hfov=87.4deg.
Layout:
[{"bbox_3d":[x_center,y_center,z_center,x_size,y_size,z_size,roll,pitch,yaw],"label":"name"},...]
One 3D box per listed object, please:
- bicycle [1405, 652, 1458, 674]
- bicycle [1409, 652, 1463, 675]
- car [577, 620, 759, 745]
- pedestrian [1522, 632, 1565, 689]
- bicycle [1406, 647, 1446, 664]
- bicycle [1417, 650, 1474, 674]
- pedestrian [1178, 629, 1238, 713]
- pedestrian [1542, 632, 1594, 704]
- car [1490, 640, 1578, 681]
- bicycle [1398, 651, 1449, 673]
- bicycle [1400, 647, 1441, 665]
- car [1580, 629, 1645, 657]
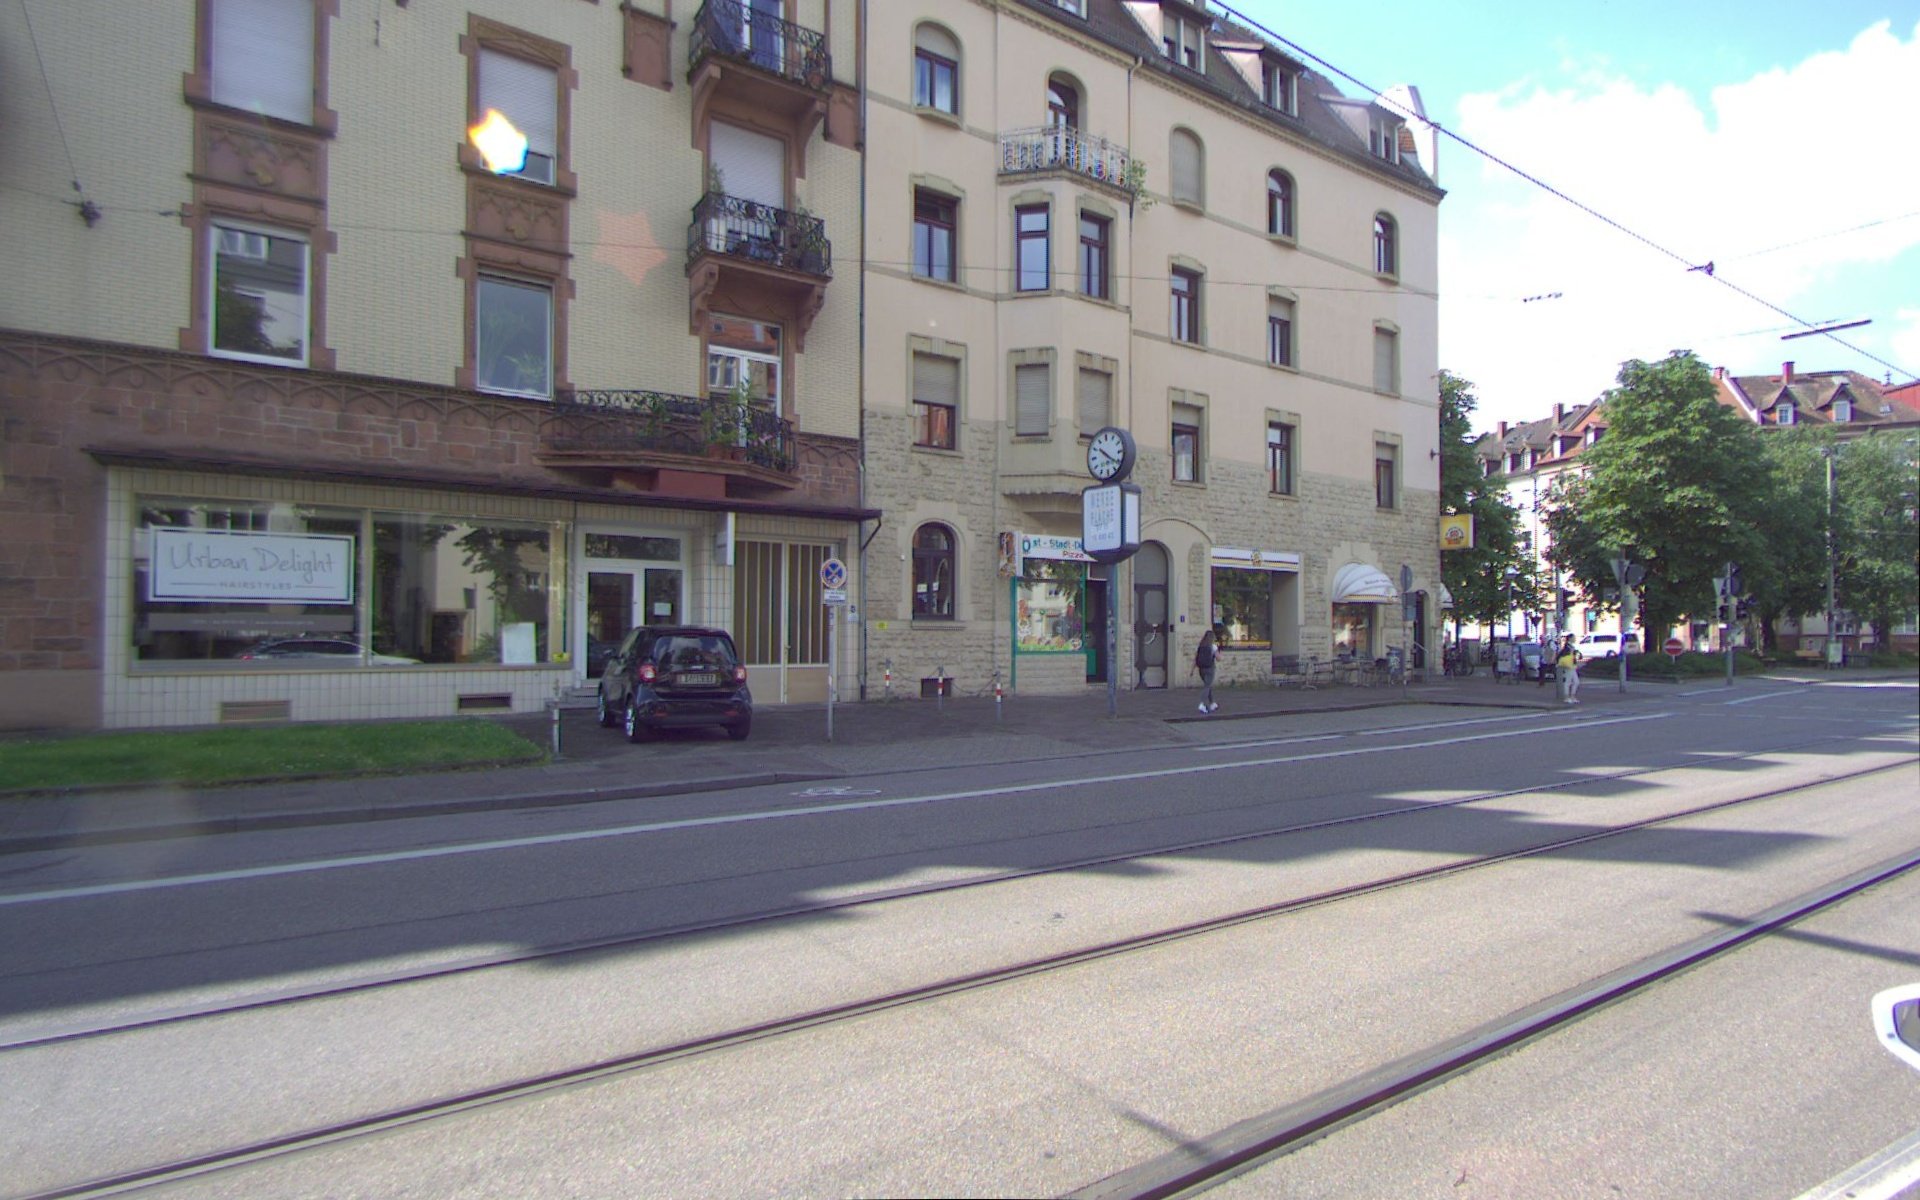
[{"bbox_3d":[20.281,2.708,43.240,1.990,0.894,0.512,1,-2,13],"label":"bicycle"},{"bbox_3d":[19.912,2.640,42.057,1.990,0.894,0.512,1,-2,13],"label":"bicycle"},{"bbox_3d":[-4.374,1.105,14.741,1.687,1.506,3.425,1,0,-32],"label":"car"},{"bbox_3d":[17.734,1.829,30.558,0.813,1.694,0.849,1,-2,-34],"label":"pedestrian"},{"bbox_3d":[26.114,3.108,56.242,1.994,0.910,0.571,1,-2,29],"label":"bicycle"},{"bbox_3d":[19.668,2.526,40.730,1.990,0.894,0.523,1,-2,13],"label":"bicycle"},{"bbox_3d":[4.909,1.384,19.884,0.956,1.562,0.687,1,2,-42],"label":"pedestrian"},{"bbox_3d":[15.461,1.713,25.554,0.865,1.727,0.751,1,2,-34],"label":"pedestrian"},{"bbox_3d":[21.866,2.272,38.444,1.686,1.439,3.876,0,-2,10],"label":"car"},{"bbox_3d":[20.555,2.731,44.566,1.990,0.894,0.512,1,-2,13],"label":"bicycle"},{"bbox_3d":[25.477,3.091,55.599,1.994,0.910,0.571,1,-2,29],"label":"bicycle"},{"bbox_3d":[47.910,3.158,73.831,1.823,2.015,3.942,1,-2,-10],"label":"car"}]
